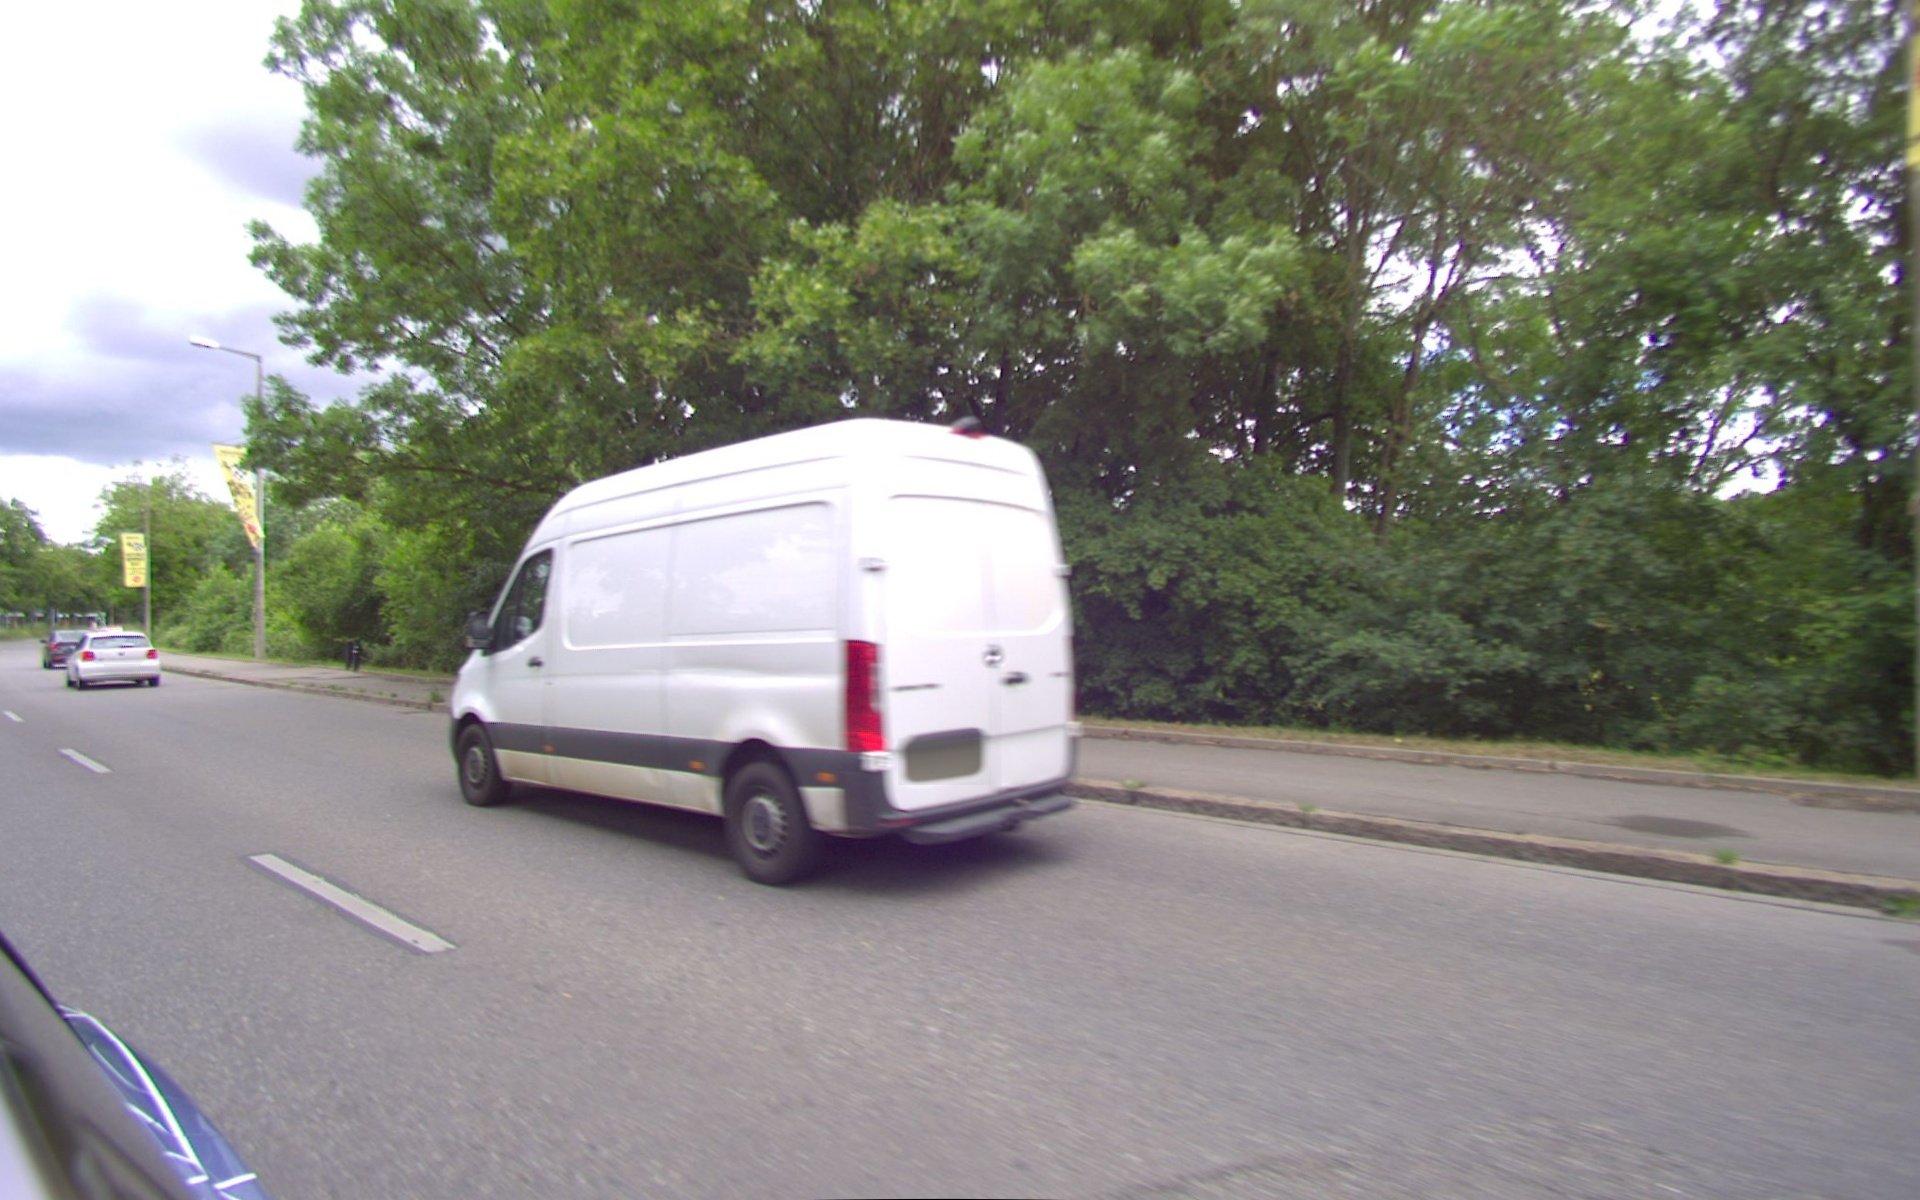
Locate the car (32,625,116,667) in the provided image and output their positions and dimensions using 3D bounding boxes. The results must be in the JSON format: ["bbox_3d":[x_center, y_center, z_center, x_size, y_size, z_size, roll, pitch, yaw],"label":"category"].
[{"bbox_3d":[-34.917,1.748,39.848,4.278,1.516,1.972,-1,-1,42],"label":"car"}]

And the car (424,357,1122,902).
[{"bbox_3d":[-1.838,0.201,7.621,5.892,2.646,1.972,-2,-1,42],"label":"car"}]

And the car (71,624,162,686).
[{"bbox_3d":[-22.262,1.385,26.655,1.703,1.439,4.005,0,-1,-42],"label":"car"}]
